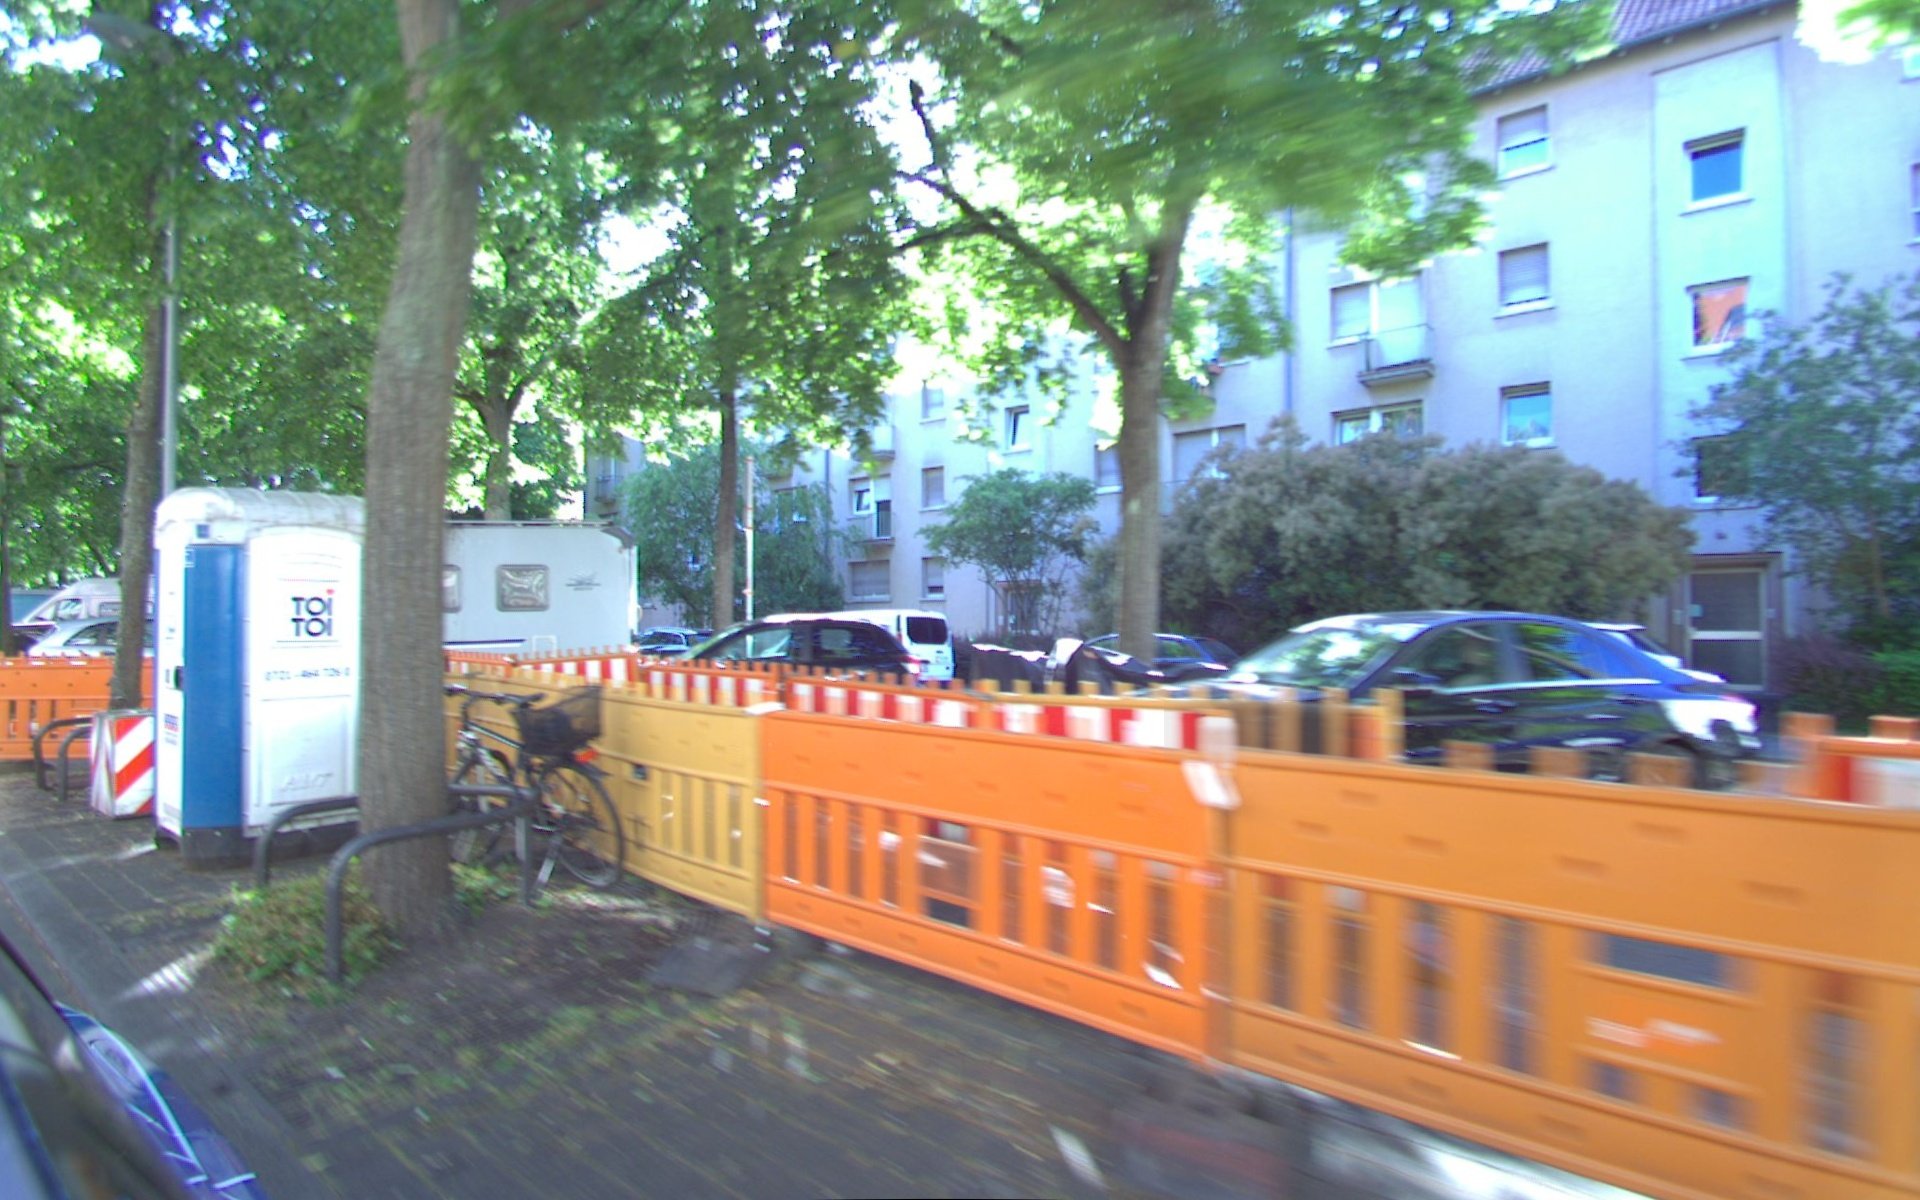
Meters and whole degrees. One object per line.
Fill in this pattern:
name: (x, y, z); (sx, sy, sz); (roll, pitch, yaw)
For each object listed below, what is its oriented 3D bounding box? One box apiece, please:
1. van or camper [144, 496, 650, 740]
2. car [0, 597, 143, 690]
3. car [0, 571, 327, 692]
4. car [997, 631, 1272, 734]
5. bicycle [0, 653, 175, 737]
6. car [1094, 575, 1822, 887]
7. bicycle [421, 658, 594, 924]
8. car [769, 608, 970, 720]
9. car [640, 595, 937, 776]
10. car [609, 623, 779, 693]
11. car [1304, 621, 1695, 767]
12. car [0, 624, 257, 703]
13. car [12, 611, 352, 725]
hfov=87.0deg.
van or camper: (-7.697, 0.295, 14.686); (5.929, 3.025, 2.407); (1, -2, -21)
car: (-22.745, 1.044, 24.445); (4.322, 2.184, 1.776); (1, -2, -22)
car: (-18.198, 0.722, 23.044); (6.094, 2.530, 2.145); (1, -2, -22)
car: (2.723, 1.238, 16.395); (4.125, 1.454, 1.701); (-2, -2, 41)
bicycle: (-12.314, 1.296, 13.940); (2.345, 0.985, 0.502); (-2, 1, -40)
car: (2.997, 0.696, 6.319); (3.932, 1.530, 1.675); (1, -2, -16)
bicycle: (-2.392, 0.906, 5.260); (0.277, 1.164, 1.552); (-1, -1, -44)
car: (-1.918, 1.223, 20.506); (4.266, 2.029, 1.603); (-2, -1, 42)
car: (-1.862, 0.847, 10.800); (2.941, 1.730, 1.426); (1, -2, -17)
car: (-6.315, 1.325, 23.882); (3.998, 1.497, 1.973); (-2, -3, 41)
car: (6.725, 1.068, 12.883); (4.111, 1.571, 1.701); (-2, -2, 41)
car: (-17.082, 1.250, 20.411); (4.447, 1.495, 1.743); (1, -2, -19)
car: (-12.089, 1.035, 16.084); (3.930, 1.629, 1.803); (1, -2, -24)
